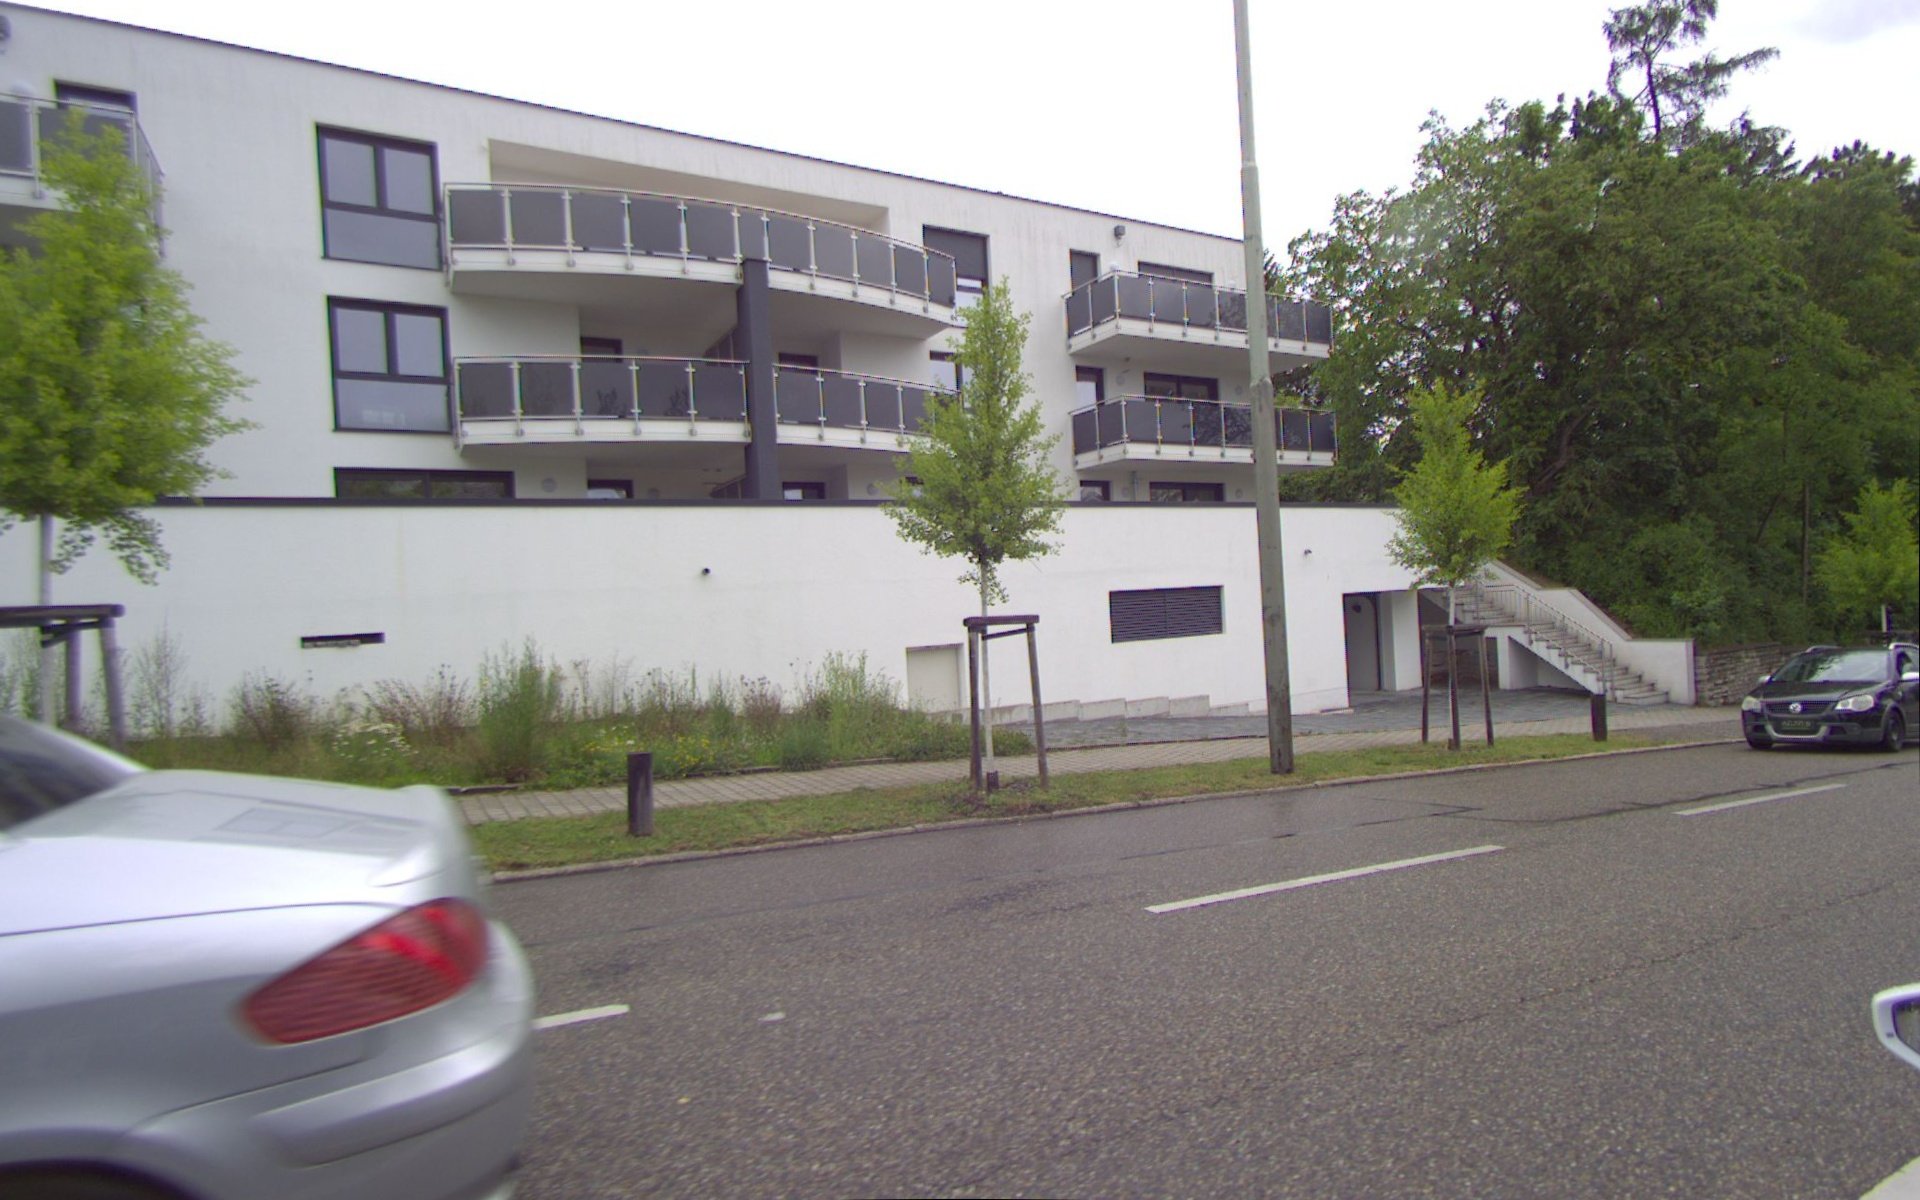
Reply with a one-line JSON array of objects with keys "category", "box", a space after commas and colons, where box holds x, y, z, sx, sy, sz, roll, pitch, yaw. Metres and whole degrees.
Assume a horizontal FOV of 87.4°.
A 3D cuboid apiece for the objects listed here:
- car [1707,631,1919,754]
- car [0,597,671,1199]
[{"category": "car", "box": [12.894, 1.294, 14.598, 3.869, 1.569, 1.739, 1, -5, -29]}, {"category": "car", "box": [-2.681, 0.770, 1.648, 3.953, 1.505, 1.754, 1, -3, -31]}]
